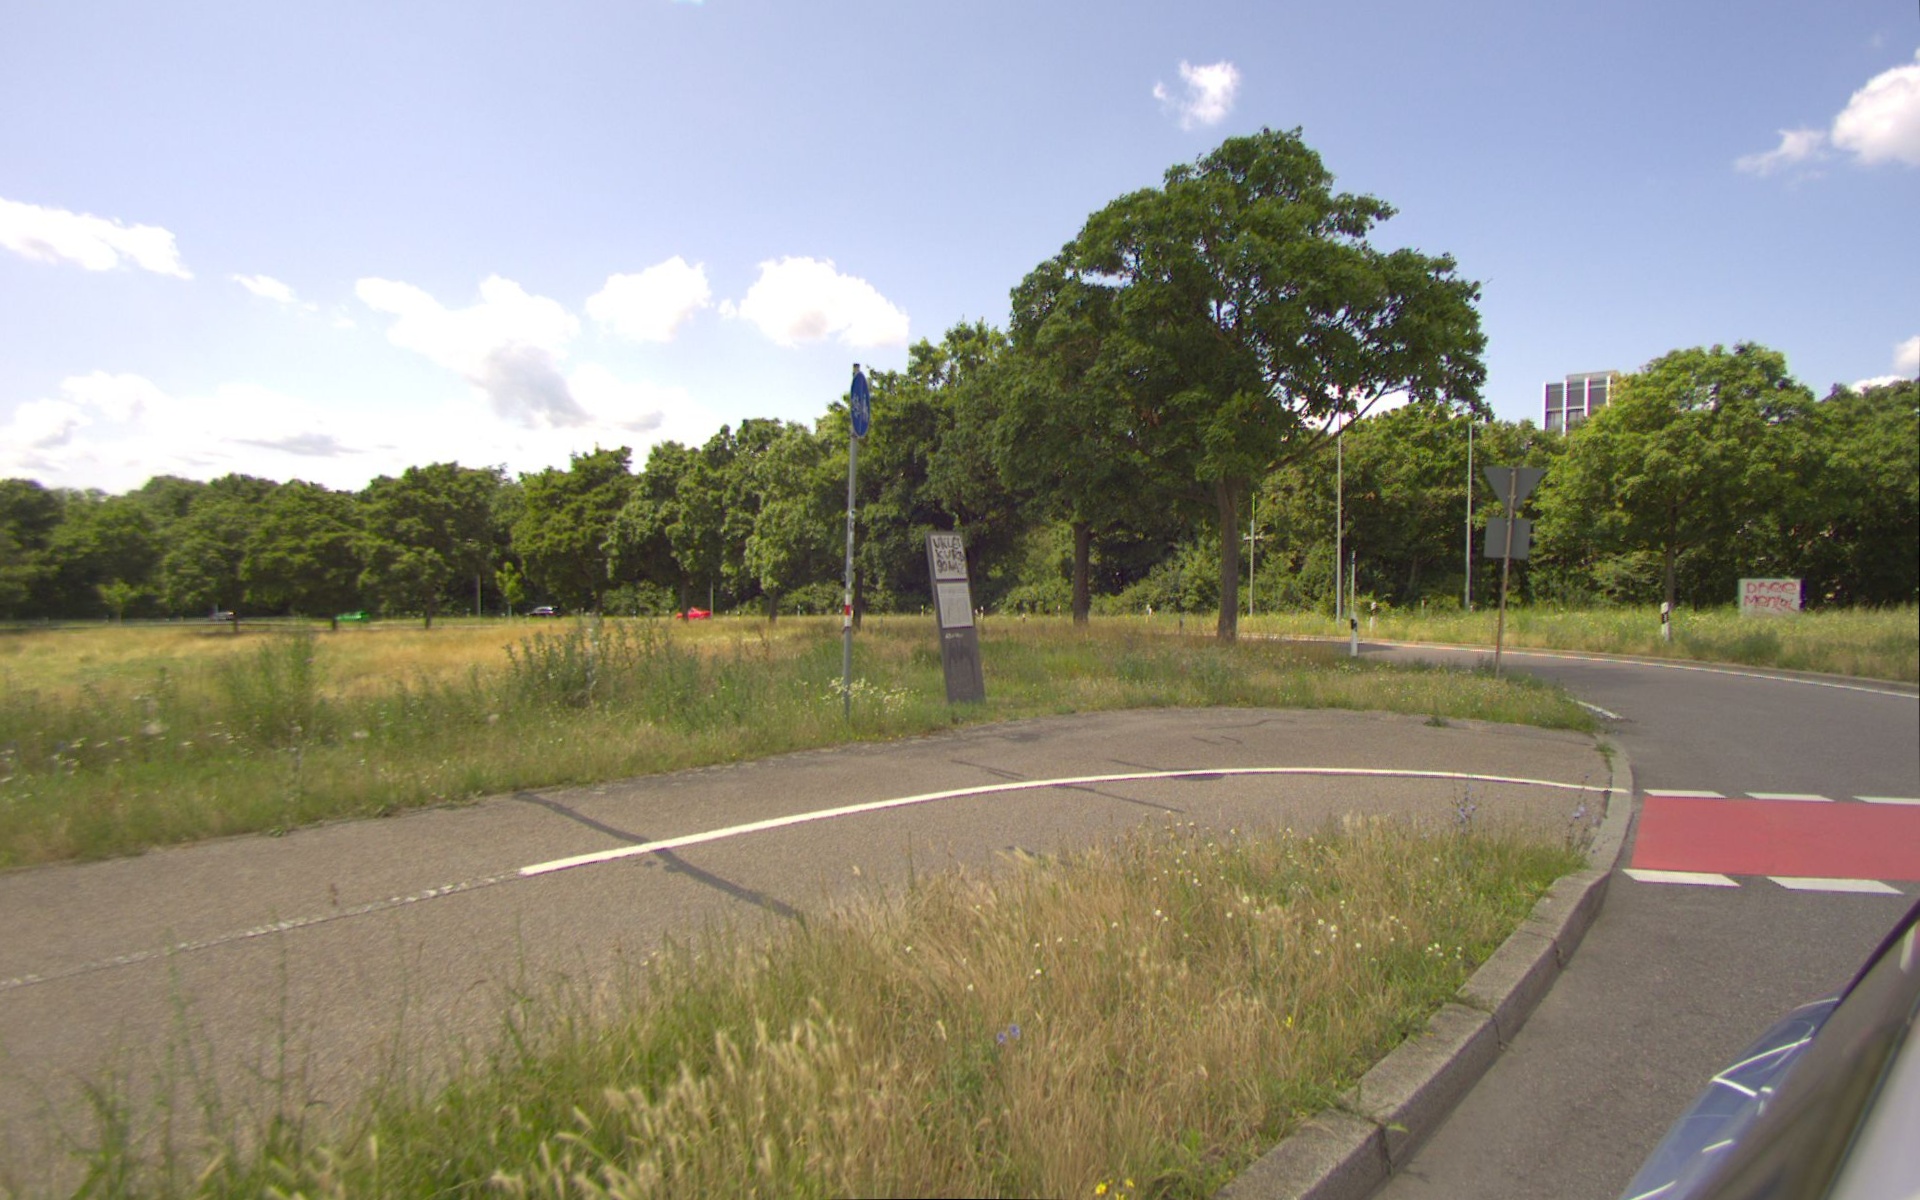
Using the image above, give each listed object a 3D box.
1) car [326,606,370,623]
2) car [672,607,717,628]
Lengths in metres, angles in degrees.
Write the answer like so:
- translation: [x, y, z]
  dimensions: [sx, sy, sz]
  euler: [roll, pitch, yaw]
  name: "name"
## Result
- translation: [-69.129, 1.594, 114.328]
  dimensions: [3.934, 1.906, 1.995]
  euler: [0, 0, 9]
  name: "car"
- translation: [-25.802, 1.688, 98.272]
  dimensions: [3.965, 2.039, 1.979]
  euler: [0, 0, 30]
  name: "car"
